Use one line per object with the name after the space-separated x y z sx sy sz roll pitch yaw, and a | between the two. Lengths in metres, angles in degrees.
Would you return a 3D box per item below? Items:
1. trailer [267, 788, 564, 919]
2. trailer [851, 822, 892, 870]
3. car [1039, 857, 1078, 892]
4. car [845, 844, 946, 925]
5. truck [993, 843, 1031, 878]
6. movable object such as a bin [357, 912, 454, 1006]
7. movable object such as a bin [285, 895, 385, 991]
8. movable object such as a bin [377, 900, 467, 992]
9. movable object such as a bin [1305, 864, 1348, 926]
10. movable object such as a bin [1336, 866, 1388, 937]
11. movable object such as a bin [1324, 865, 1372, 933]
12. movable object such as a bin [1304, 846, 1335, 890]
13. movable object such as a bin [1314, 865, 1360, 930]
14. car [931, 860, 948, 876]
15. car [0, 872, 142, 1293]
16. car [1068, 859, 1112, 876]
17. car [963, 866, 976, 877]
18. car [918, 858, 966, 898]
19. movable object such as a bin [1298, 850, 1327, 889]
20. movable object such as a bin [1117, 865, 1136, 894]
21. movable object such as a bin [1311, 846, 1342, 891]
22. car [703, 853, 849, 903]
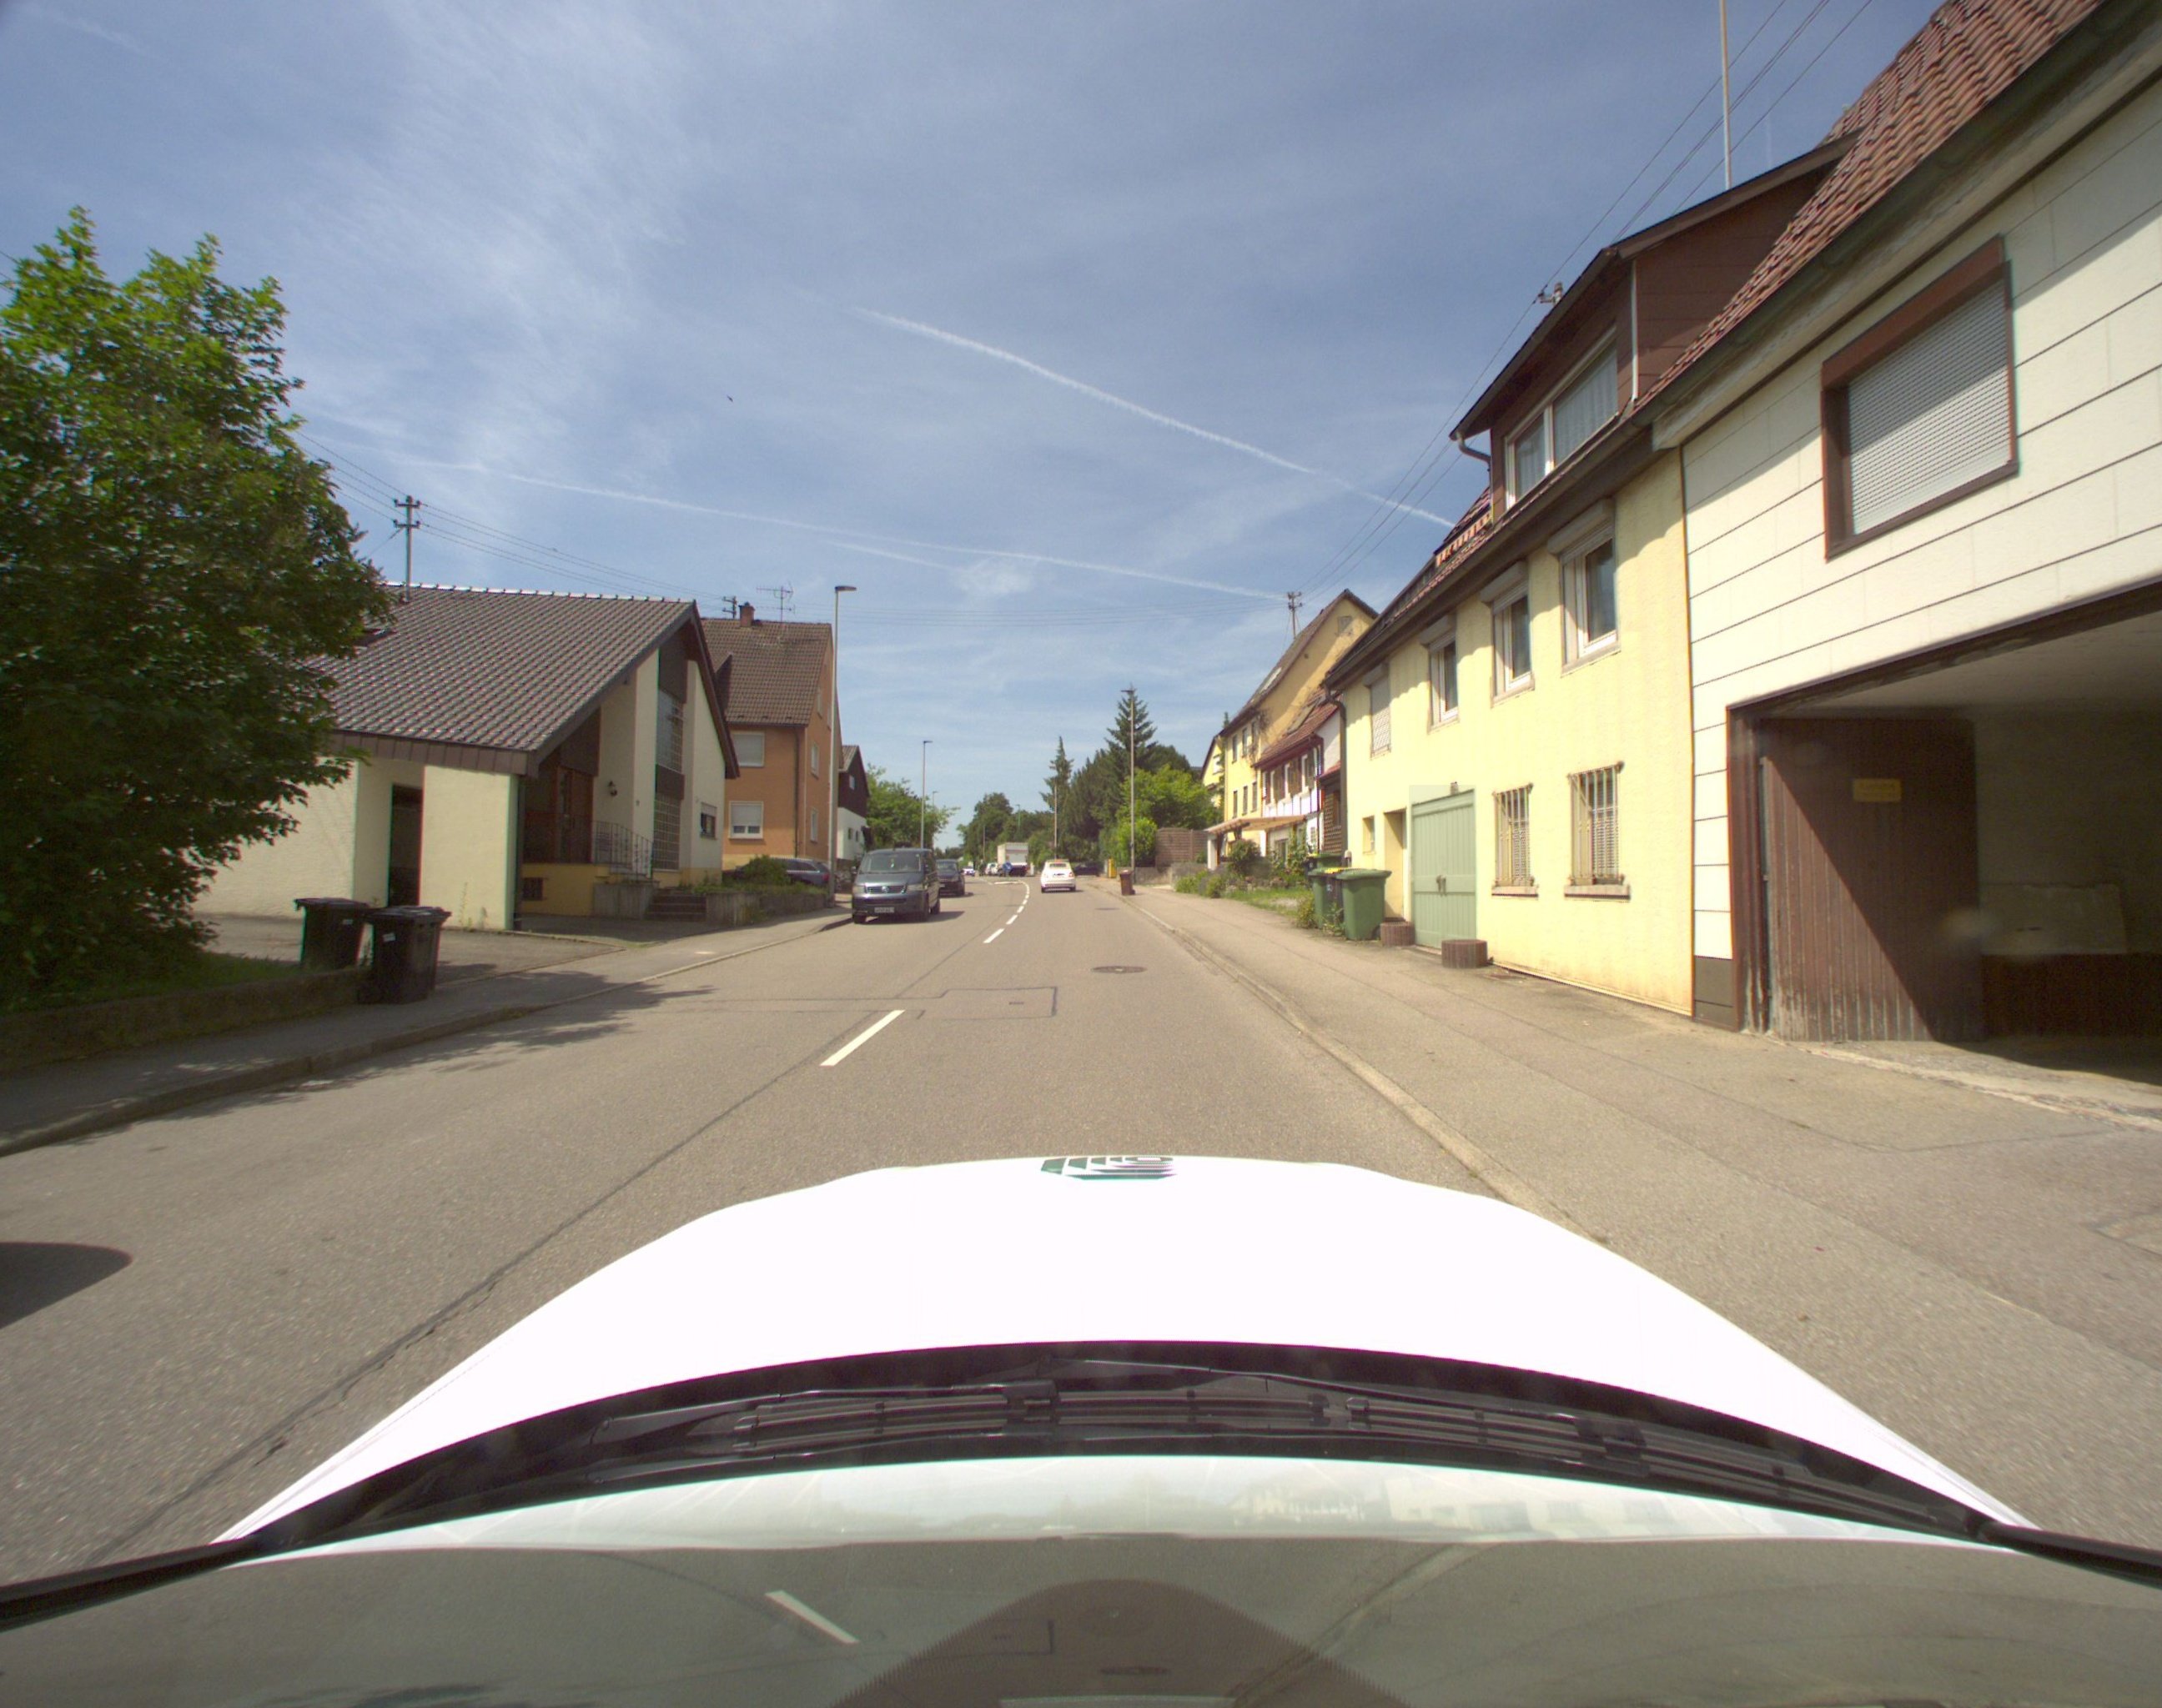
-12.776 0.020 15.895 3.824 2.014 1.997 6 -1 -5 | trailer
-13.287 -0.433 52.010 1.710 2.848 6.159 0 -1 -7 | trailer
-1.127 0.969 39.105 1.721 1.560 3.994 -1 -1 -4 | car
-5.011 0.776 22.671 1.887 1.937 4.979 -2 -1 -3 | car
-7.847 0.800 91.334 3.072 3.774 7.831 -1 -1 -13 | truck
-6.993 1.072 8.455 0.500 0.902 0.584 1 -2 -5 | movable object such as a bin
-8.089 0.953 8.855 0.500 0.949 0.523 6 -2 -5 | movable object such as a bin
-7.368 1.014 9.126 0.472 0.938 0.527 6 -2 -4 | movable object such as a bin
4.327 0.714 14.370 0.545 1.033 0.551 -3 0 0 | movable object such as a bin
4.341 0.718 12.608 0.545 1.033 0.551 -3 0 0 | movable object such as a bin
4.315 0.722 13.196 0.545 1.033 0.551 -3 0 0 | movable object such as a bin
6.706 0.398 22.903 0.534 1.157 0.548 -7 0 -6 | movable object such as a bin
4.329 0.721 13.774 0.545 1.033 0.551 -3 0 0 | movable object such as a bin
-19.827 1.931 114.128 2.039 2.200 5.556 -1 -1 -13 | car
-4.735 0.836 0.905 1.813 1.473 4.775 -1 0 0 | car
0.812 1.252 75.149 3.931 1.458 1.654 -1 -1 -8 | car
-16.127 2.496 117.924 1.782 1.529 4.157 -2 -1 -9 | car
-6.138 1.028 36.288 1.766 1.636 4.278 -2 0 -6 | car
6.679 0.455 23.509 0.534 1.057 0.548 -7 0 -6 | movable object such as a bin
1.707 0.938 30.491 0.490 1.033 0.551 -5 -1 20 | movable object such as a bin
6.723 0.388 22.314 0.534 1.157 0.510 -7 0 -5 | movable object such as a bin
-10.194 0.799 27.525 4.226 1.405 1.816 3 -1 -9 | car
